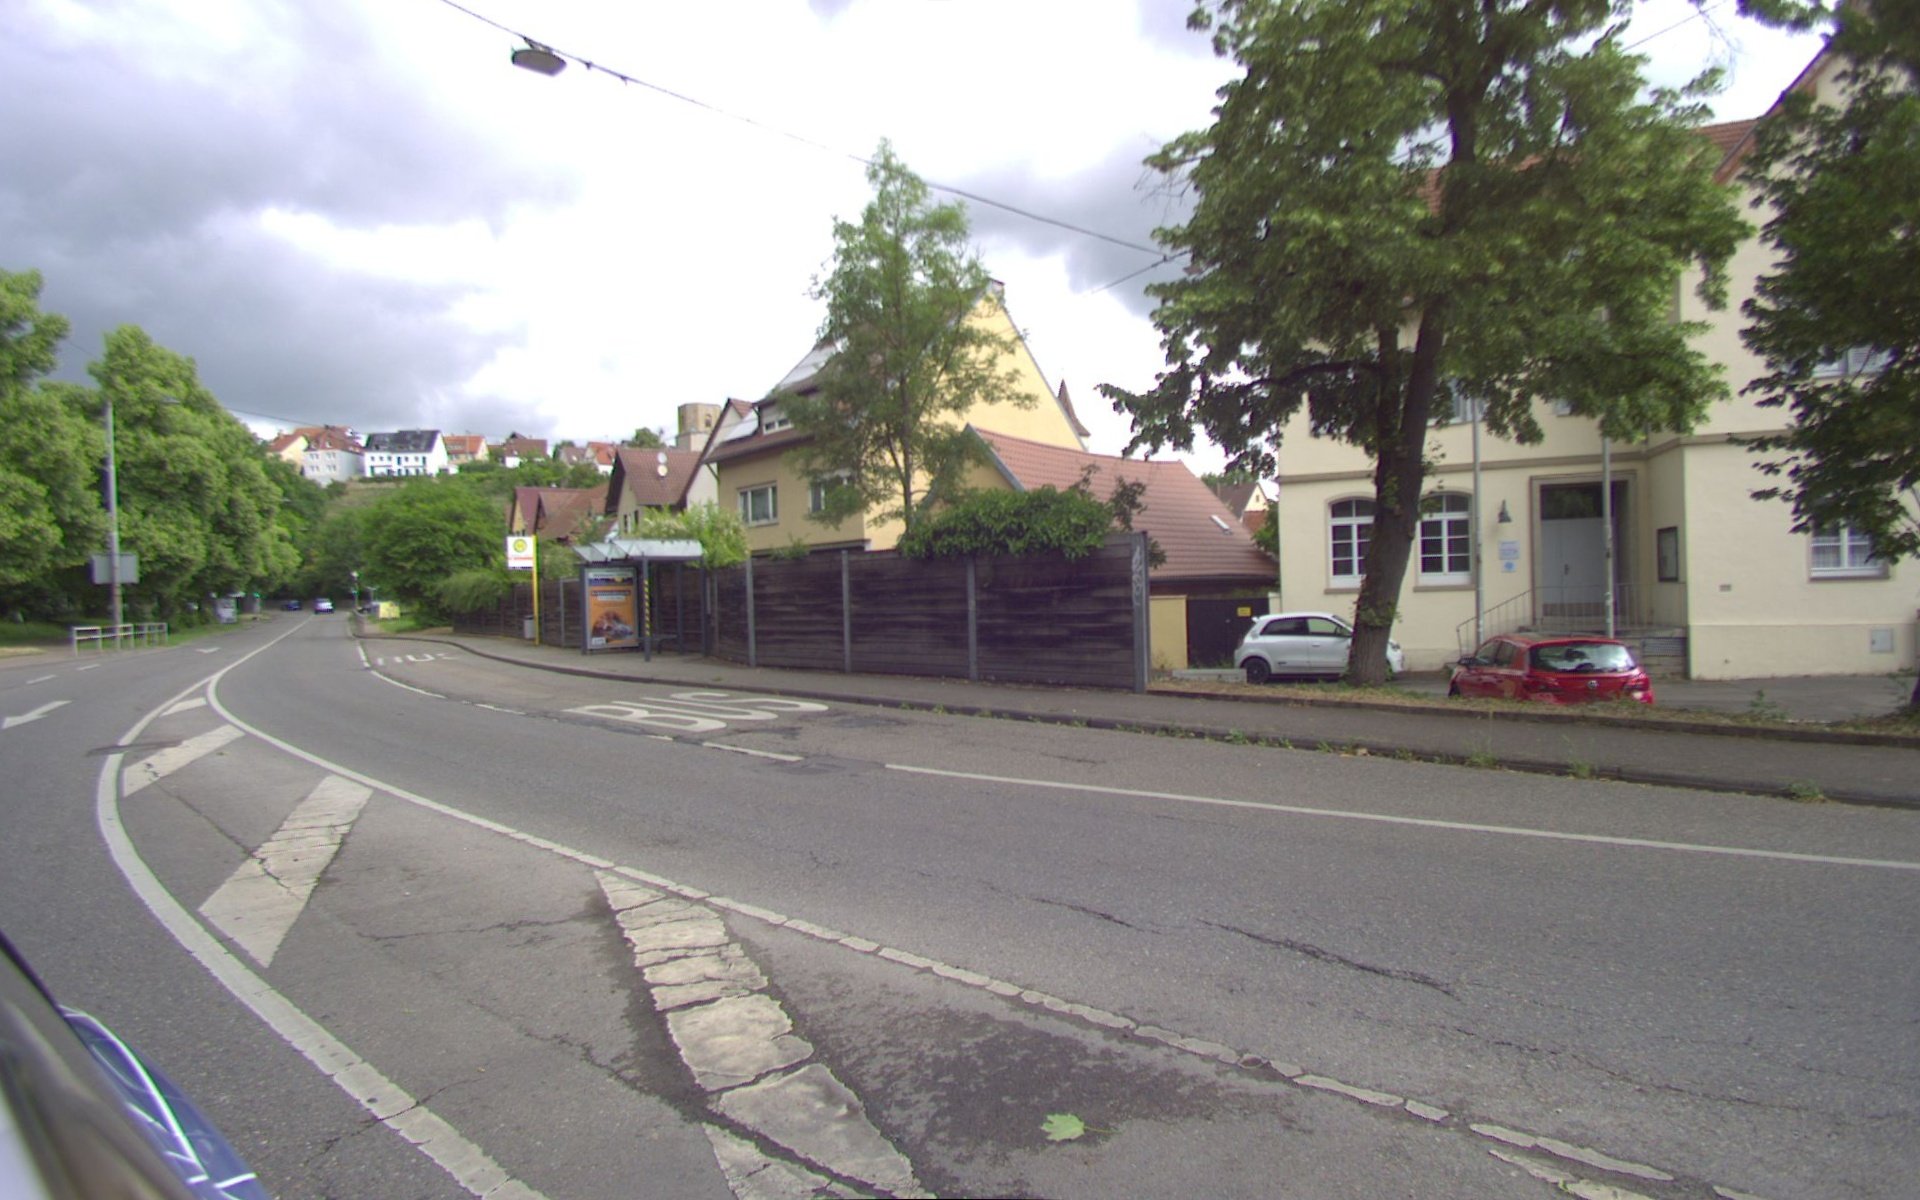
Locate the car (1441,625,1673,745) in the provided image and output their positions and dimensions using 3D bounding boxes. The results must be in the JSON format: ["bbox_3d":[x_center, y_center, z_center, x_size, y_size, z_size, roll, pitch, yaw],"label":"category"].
[{"bbox_3d":[8.416,1.124,14.652,1.643,1.393,3.708,-1,0,10],"label":"car"}]

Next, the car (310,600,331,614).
[{"bbox_3d":[-76.267,0.880,120.734,1.967,1.630,4.011,-1,0,-34],"label":"car"}]

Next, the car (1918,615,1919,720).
[{"bbox_3d":[12.909,0.904,11.099,1.626,1.450,3.567,-1,0,6],"label":"car"}]

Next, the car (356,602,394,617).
[{"bbox_3d":[-67.470,1.118,116.736,3.619,1.596,1.771,-1,0,-26],"label":"car"}]

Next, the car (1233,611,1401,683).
[{"bbox_3d":[7.946,1.035,22.659,3.411,1.490,1.600,-1,0,20],"label":"car"}]
